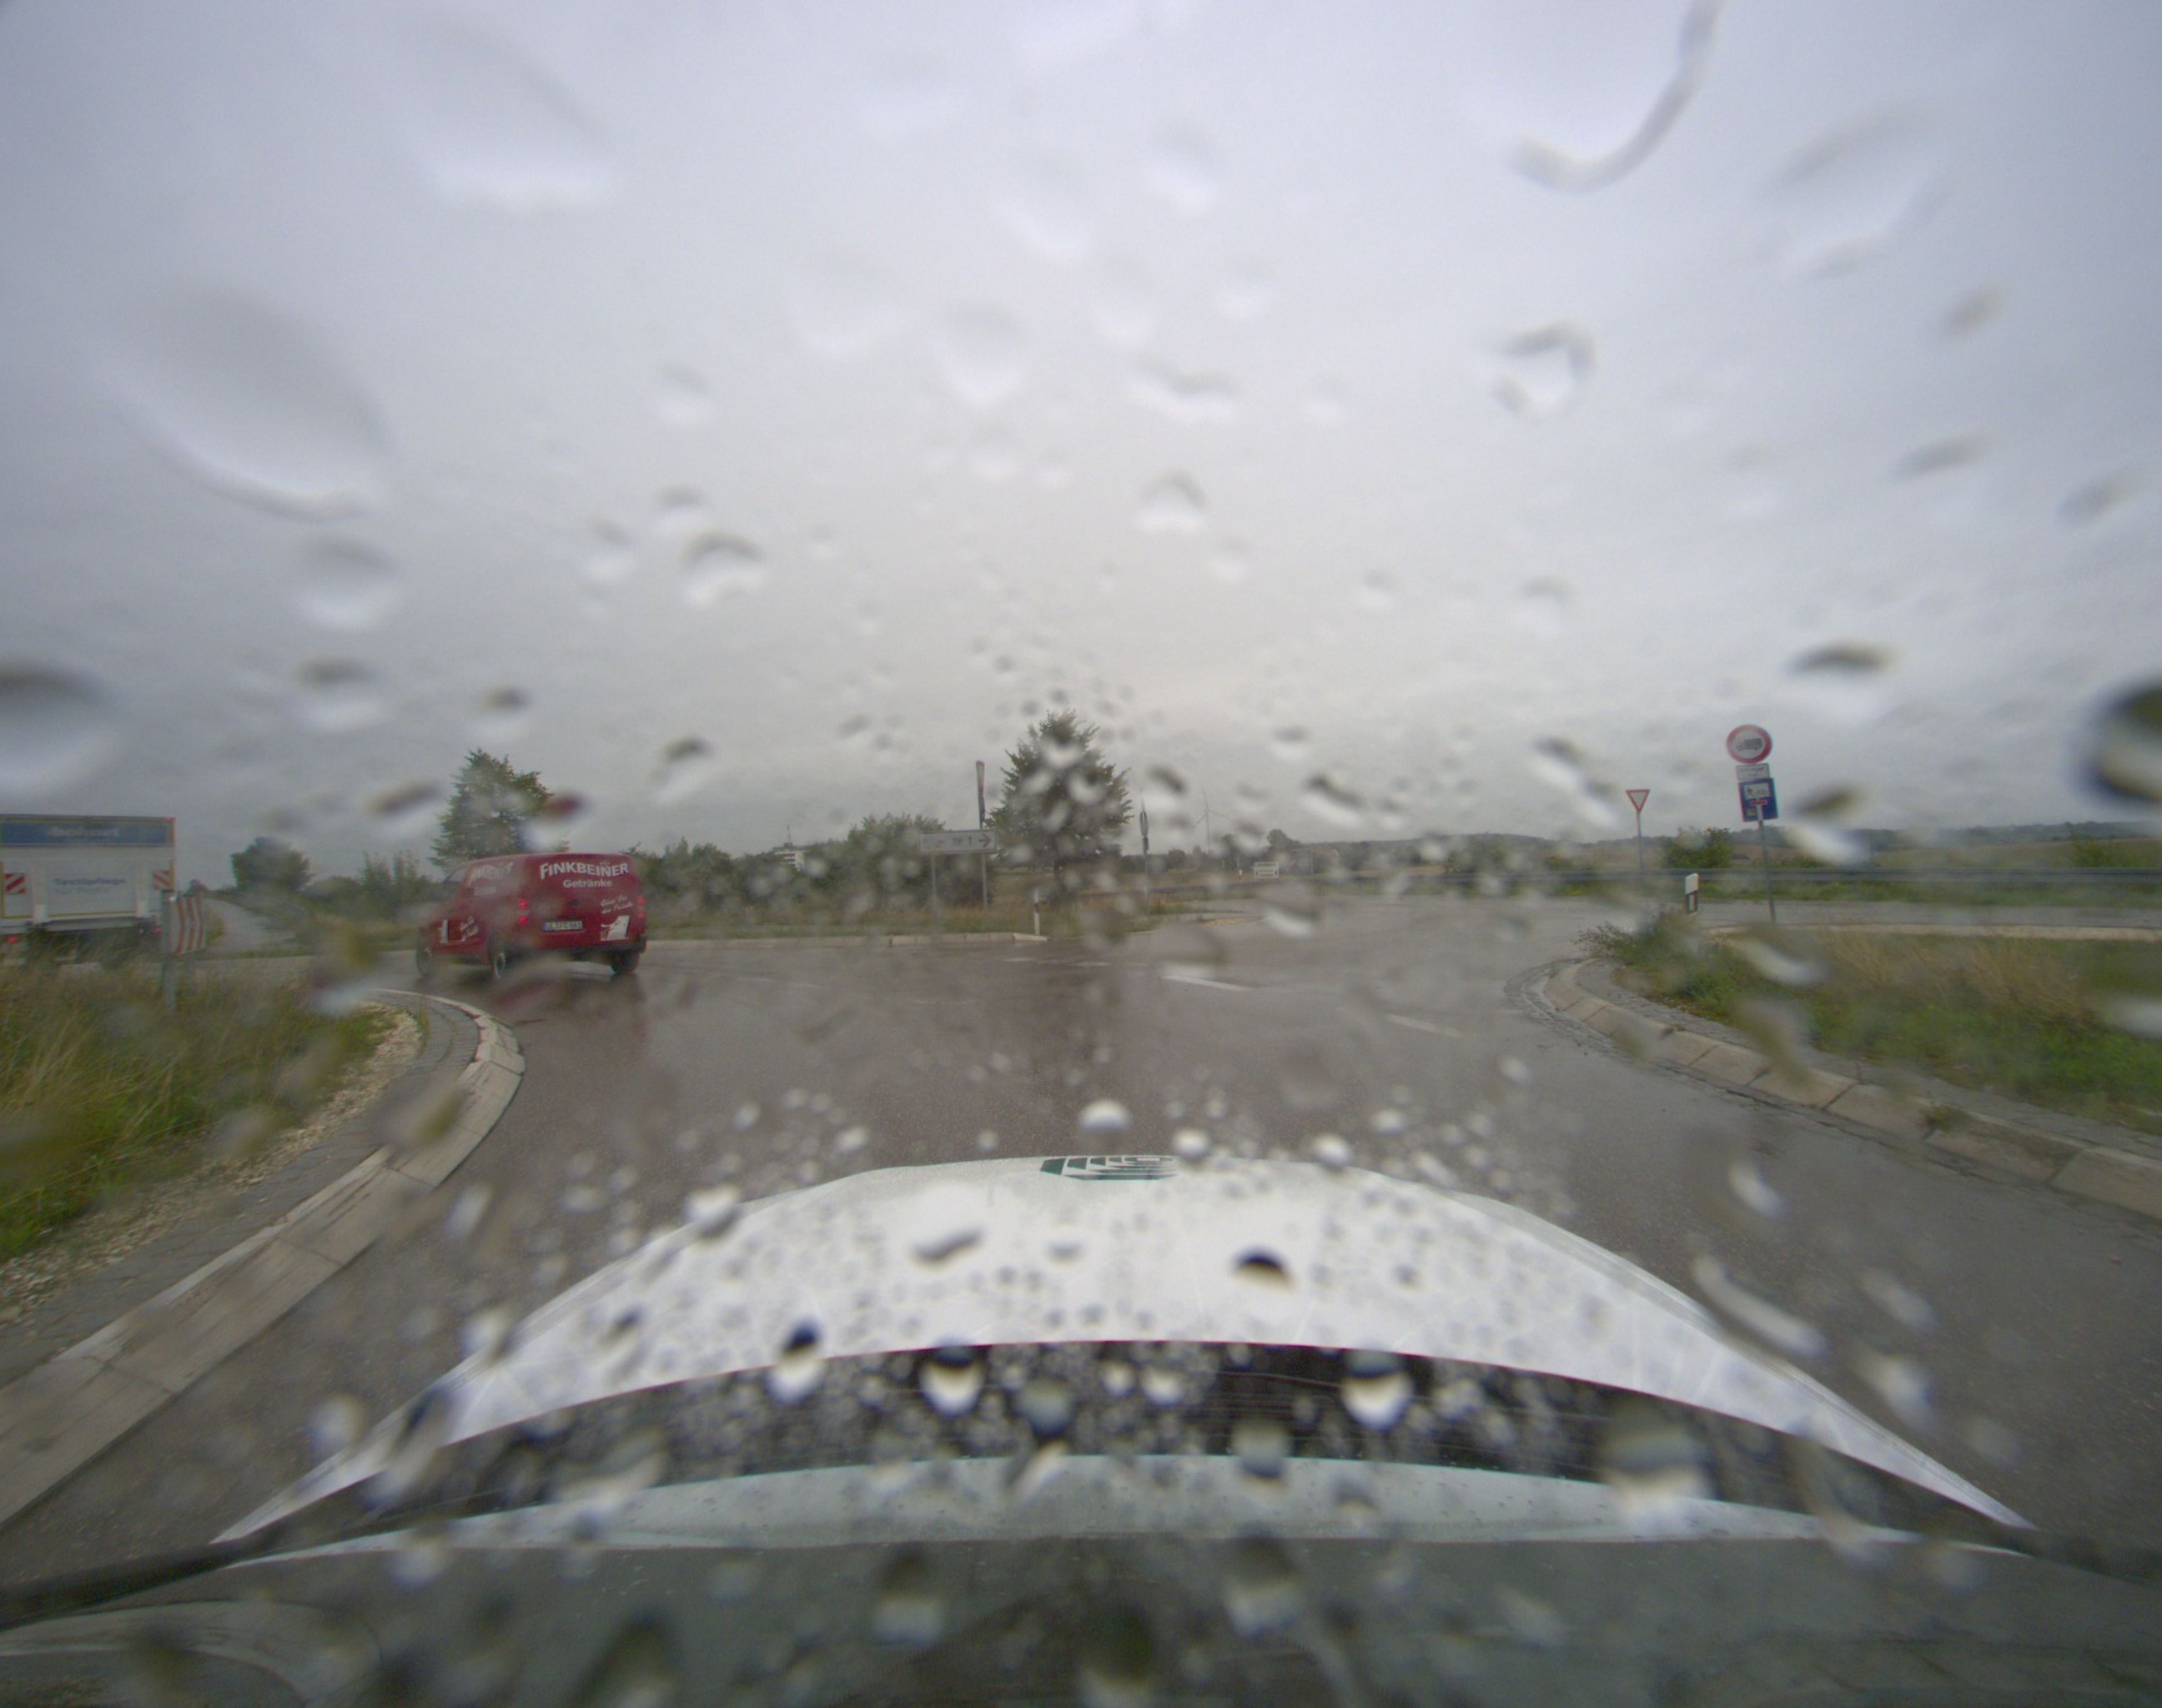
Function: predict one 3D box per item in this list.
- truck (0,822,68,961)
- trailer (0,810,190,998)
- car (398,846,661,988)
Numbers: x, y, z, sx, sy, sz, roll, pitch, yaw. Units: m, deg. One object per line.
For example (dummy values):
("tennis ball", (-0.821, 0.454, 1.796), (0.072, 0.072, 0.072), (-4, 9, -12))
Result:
("truck", (-33.254, 1.195, 23.970), (7.591, 3.819, 2.826), (-3, 0, 28))
("trailer", (-25.662, 1.190, 19.905), (9.591, 3.819, 2.859), (-3, 0, 28))
("car", (-9.131, 0.920, 13.324), (4.914, 1.870, 2.013), (-2, 1, 37))
